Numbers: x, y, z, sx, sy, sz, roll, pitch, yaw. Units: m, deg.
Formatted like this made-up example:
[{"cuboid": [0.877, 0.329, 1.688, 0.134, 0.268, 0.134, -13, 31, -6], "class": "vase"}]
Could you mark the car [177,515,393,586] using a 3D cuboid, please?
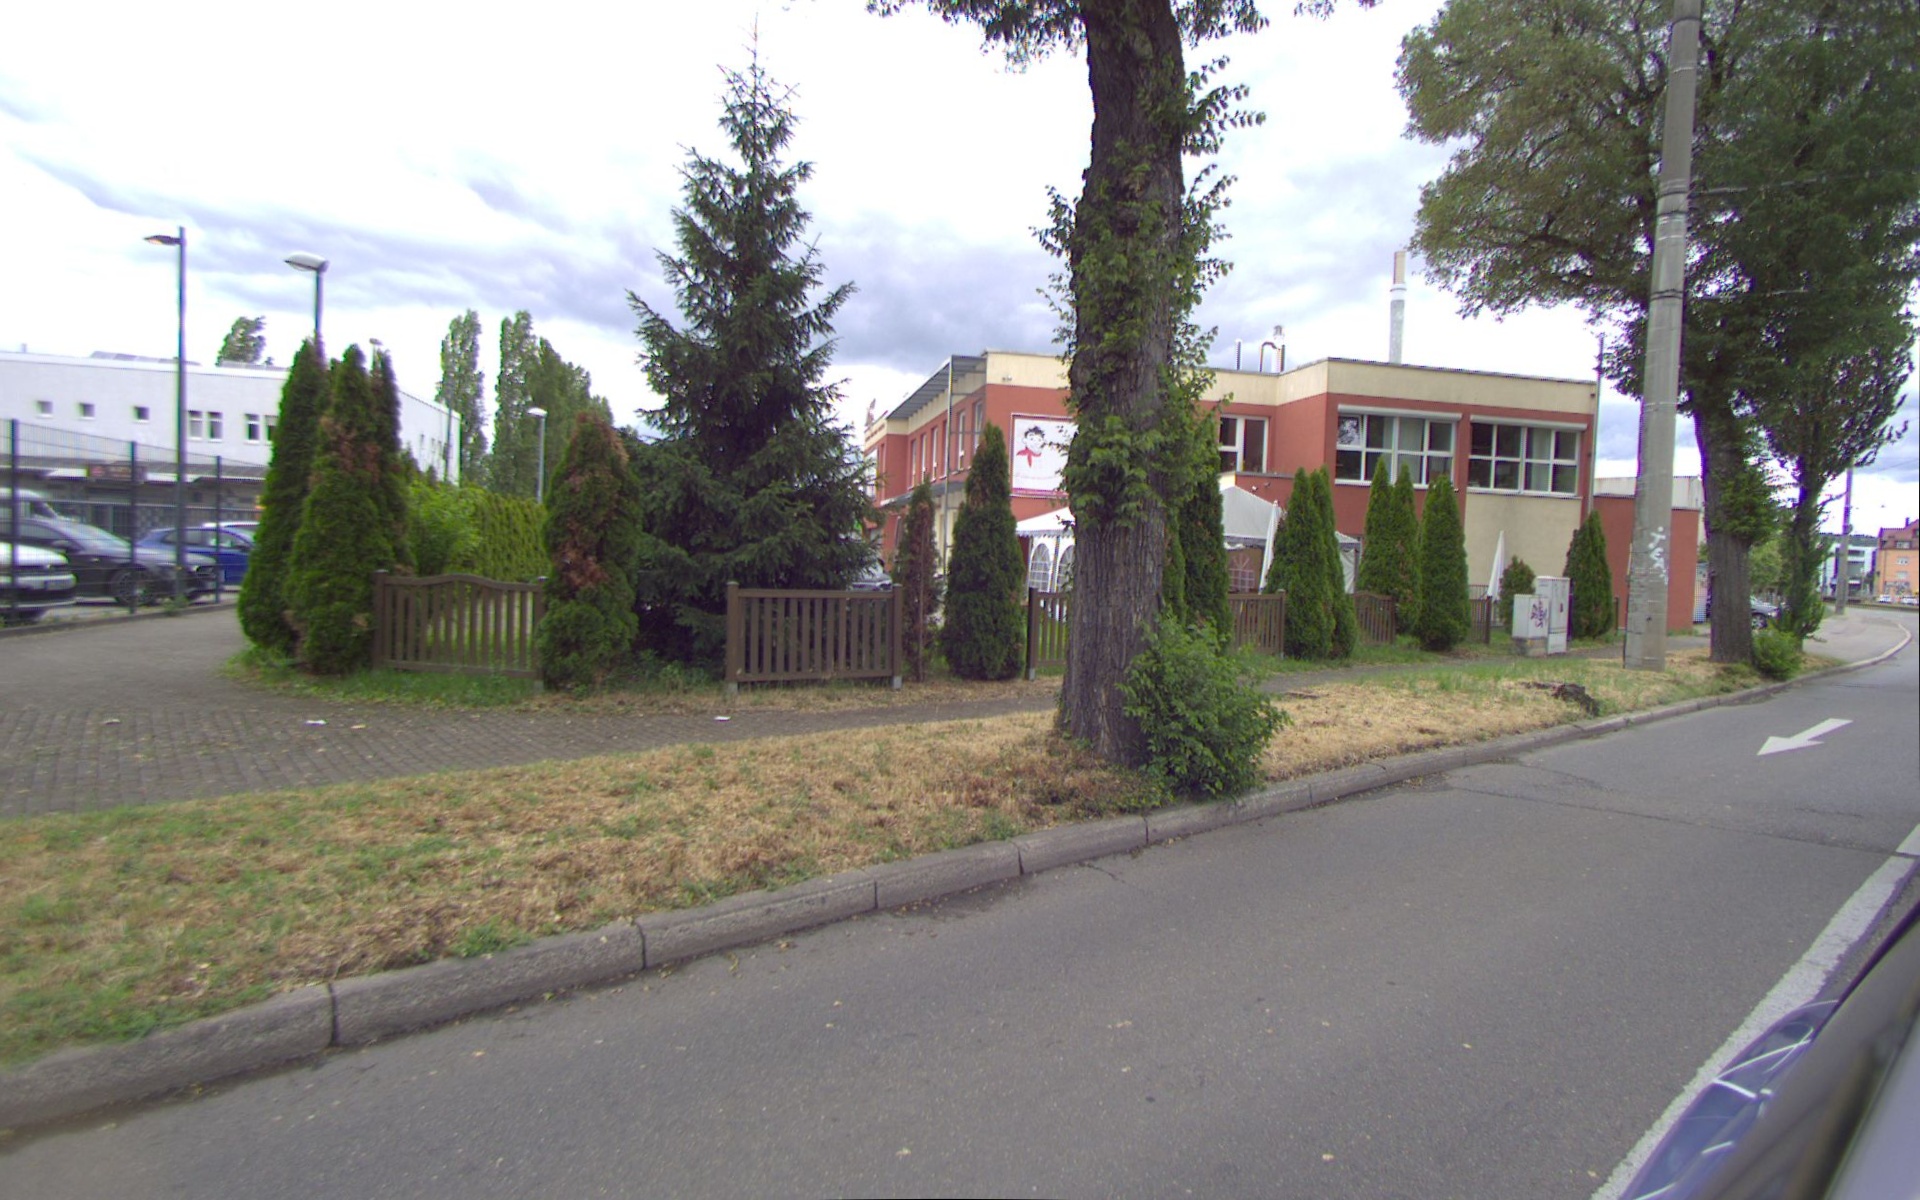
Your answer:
[{"cuboid": [-17.992, -1.313, 27.199, 4.407, 1.686, 2.005, 1, 2, -14], "class": "car"}]

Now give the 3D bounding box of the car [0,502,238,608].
[{"cuboid": [-15.572, -0.802, 17.660, 4.407, 1.686, 2.005, 1, 2, -14], "class": "car"}]

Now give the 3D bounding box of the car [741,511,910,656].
[{"cuboid": [-2.317, -0.259, 16.480, 1.958, 2.039, 4.008, 0, 0, -19], "class": "car"}]

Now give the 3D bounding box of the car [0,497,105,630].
[{"cuboid": [-14.448, -0.551, 13.354, 4.407, 1.686, 2.005, 1, 2, -14], "class": "car"}]

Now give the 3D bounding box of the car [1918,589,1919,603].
[{"cuboid": [148.788, -0.600, 155.614, 1.992, 2.039, 3.940, 0, 0, 42], "class": "car"}]

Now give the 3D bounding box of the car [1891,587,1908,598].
[{"cuboid": [163.468, -1.320, 176.133, 1.992, 2.039, 3.940, 0, 0, 42], "class": "car"}]

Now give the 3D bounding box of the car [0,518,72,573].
[{"cuboid": [-31.244, -1.710, 32.073, 4.181, 1.670, 2.004, 0, 0, -17], "class": "car"}]

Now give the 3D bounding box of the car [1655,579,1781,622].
[{"cuboid": [31.040, -0.003, 41.516, 3.986, 1.666, 1.867, 0, 0, 43], "class": "car"}]

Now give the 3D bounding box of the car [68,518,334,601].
[{"cuboid": [-17.035, -0.916, 22.966, 4.407, 1.686, 2.005, 1, 2, -14], "class": "car"}]
